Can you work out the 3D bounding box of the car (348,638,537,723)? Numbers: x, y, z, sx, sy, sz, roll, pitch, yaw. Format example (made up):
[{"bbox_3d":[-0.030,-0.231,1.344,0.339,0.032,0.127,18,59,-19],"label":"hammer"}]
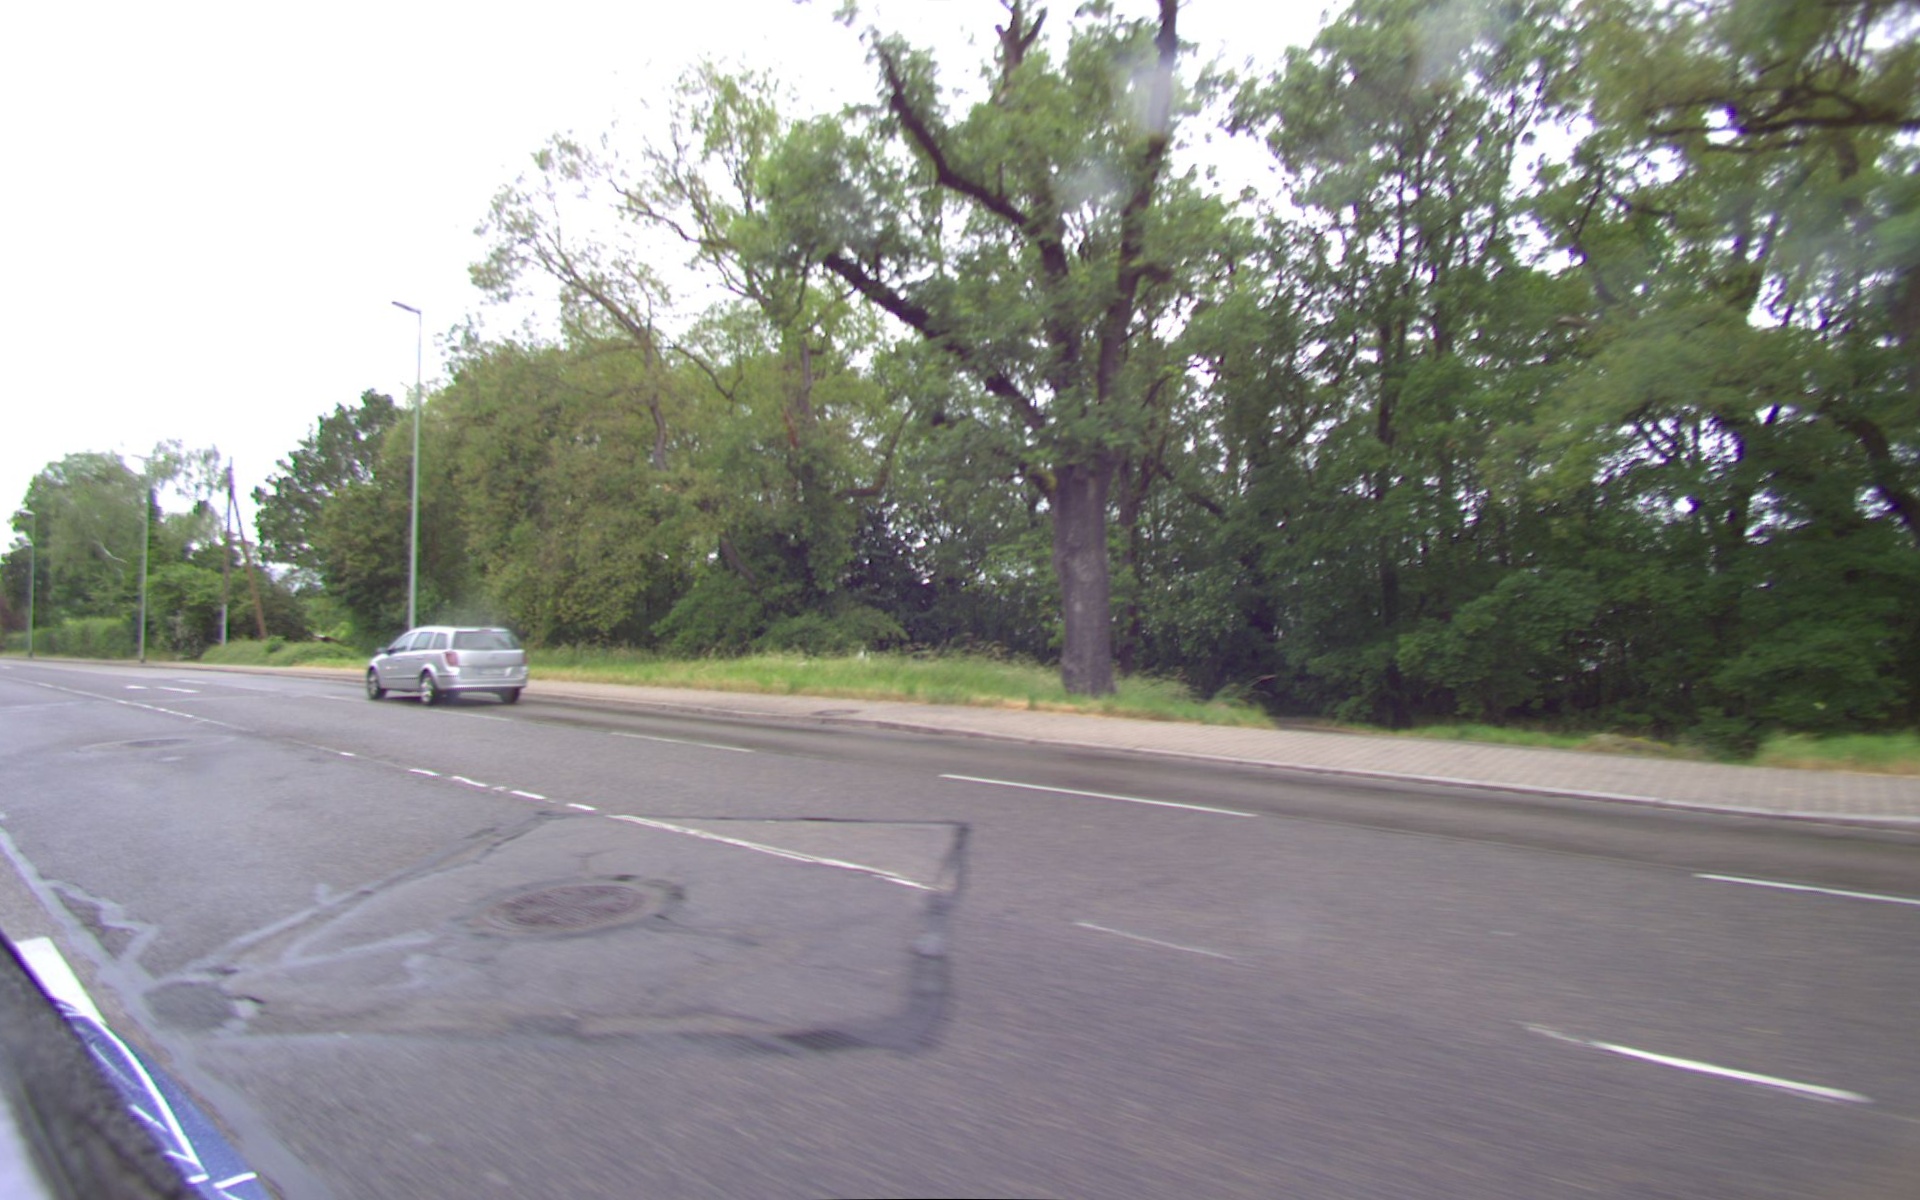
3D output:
[{"bbox_3d":[-10.240,1.508,19.897,4.448,1.494,1.672,-2,-4,40],"label":"car"}]
